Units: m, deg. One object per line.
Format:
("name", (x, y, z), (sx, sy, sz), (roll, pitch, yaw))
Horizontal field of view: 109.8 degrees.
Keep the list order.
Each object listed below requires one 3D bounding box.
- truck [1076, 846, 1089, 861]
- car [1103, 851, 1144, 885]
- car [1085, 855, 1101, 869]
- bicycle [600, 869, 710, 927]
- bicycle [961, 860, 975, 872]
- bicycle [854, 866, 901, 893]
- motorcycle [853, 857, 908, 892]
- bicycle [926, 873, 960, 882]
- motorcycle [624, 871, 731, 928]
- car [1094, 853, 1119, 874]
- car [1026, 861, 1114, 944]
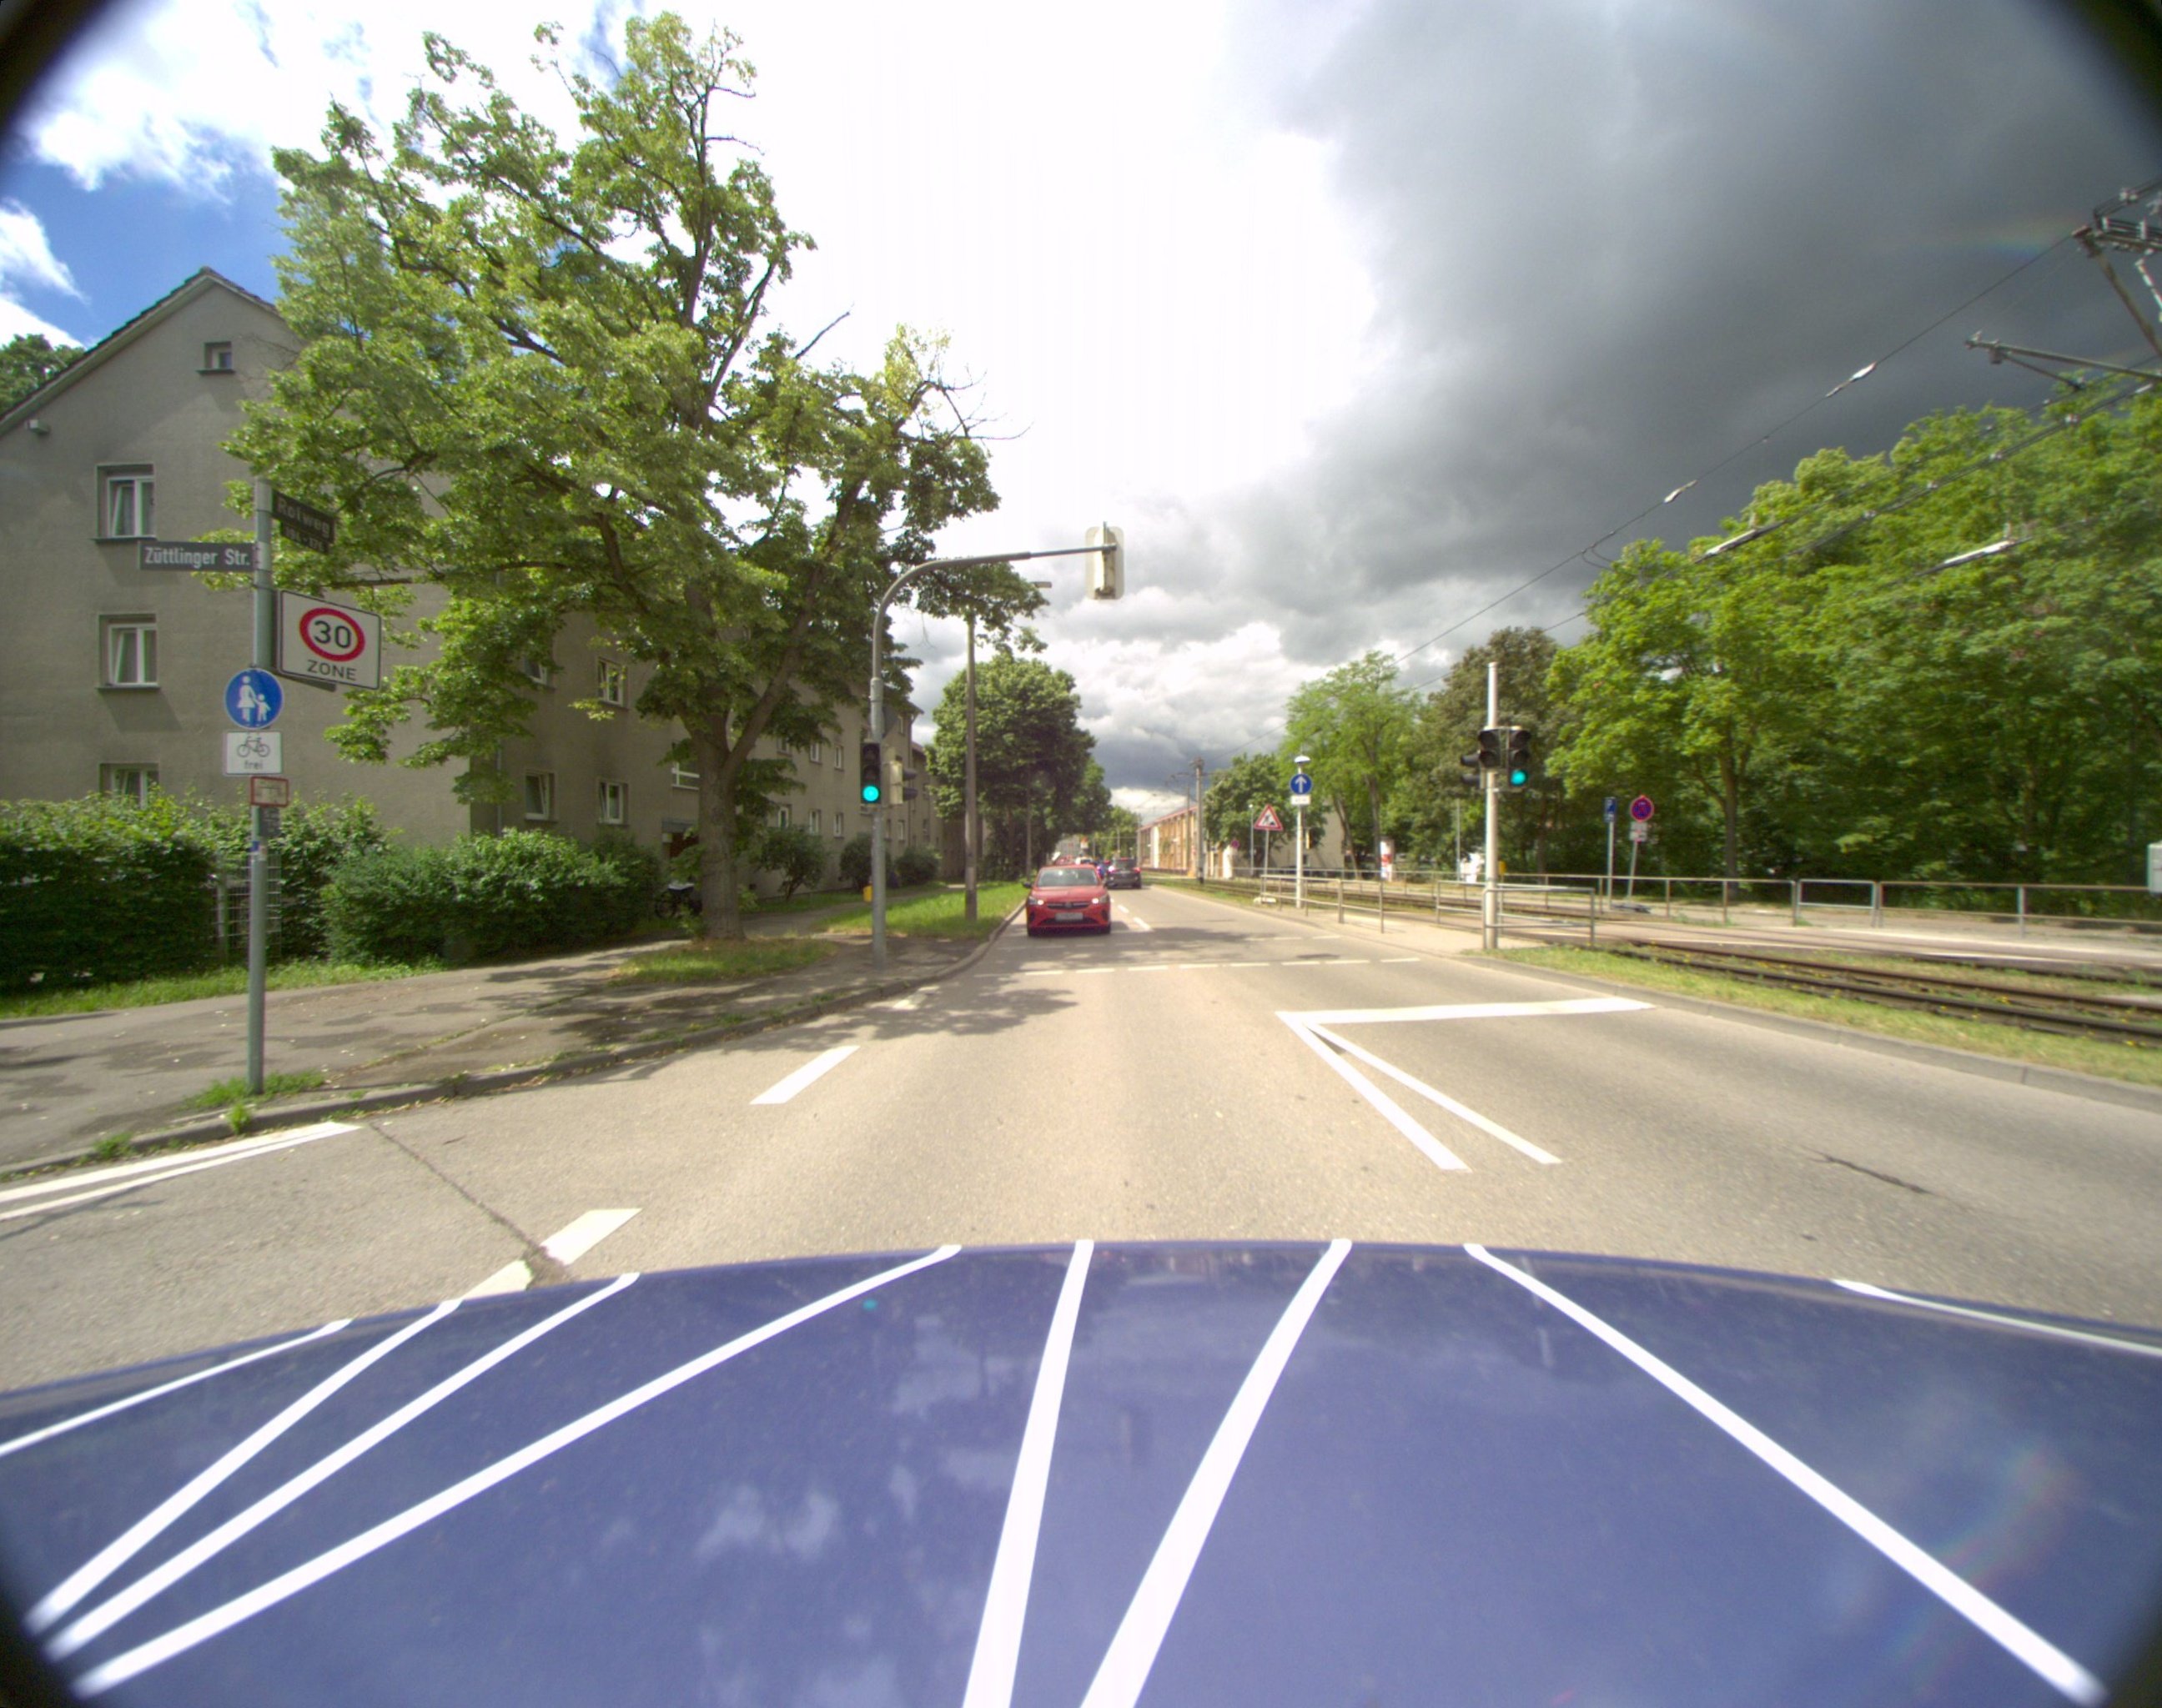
("truck", (0.315, -0.147, 150.321), (2.097, 2.723, 5.095), (-2, 1, -4))
("car", (2.221, 0.711, 40.809), (1.712, 1.666, 4.227), (-2, 0, -3))
("car", (1.395, 0.945, 88.962), (1.585, 1.477, 3.806), (-2, 0, -1))
("bicycle", (-9.650, 0.979, 17.227), (2.171, 1.275, 0.681), (0, 1, 7))
("bicycle", (-9.989, 1.076, 67.316), (0.437, 1.074, 1.749), (-3, 1, -36))
("bicycle", (-8.379, 1.051, 31.302), (1.802, 1.078, 0.455), (0, 0, 4))
("motorcycle", (-8.491, 0.862, 32.280), (2.000, 1.421, 1.018), (0, 0, 9))
("bicycle", (-9.751, 1.653, 53.623), (2.208, 0.505, 0.673), (-2, 1, 9))
("motorcycle", (-9.498, 1.055, 17.926), (2.208, 1.275, 0.681), (0, 1, 7))
("car", (1.993, 0.767, 60.430), (1.717, 1.557, 4.166), (-2, 0, -2))
("car", (-0.261, 0.957, 16.587), (1.666, 1.512, 3.785), (-1, 0, -2))
